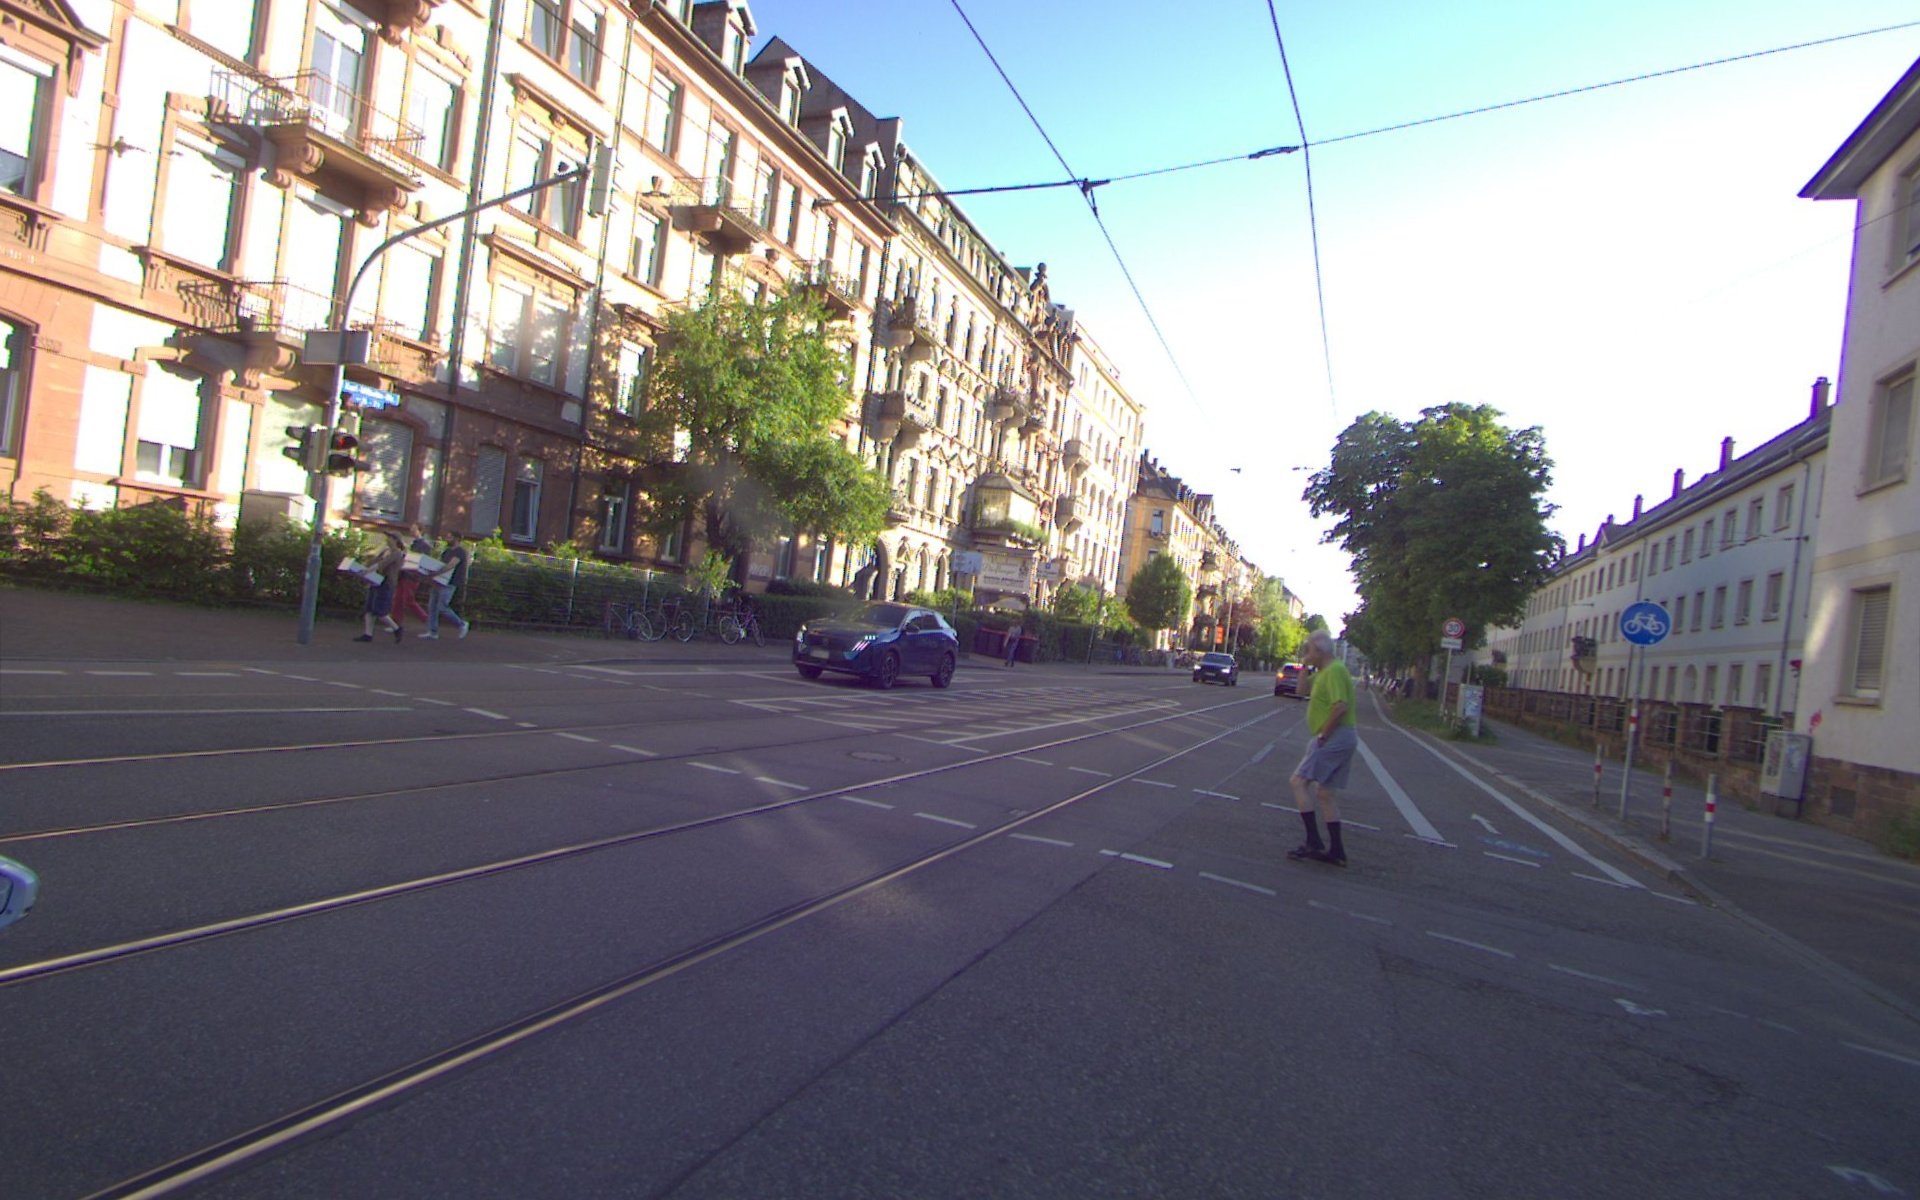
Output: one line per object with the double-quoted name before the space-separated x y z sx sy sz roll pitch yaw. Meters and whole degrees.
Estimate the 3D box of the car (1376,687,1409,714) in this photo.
"car" 29.411 6.832 68.558 1.570 1.556 3.895 7 -2 19

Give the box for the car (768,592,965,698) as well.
"car" -1.700 0.959 20.032 1.913 1.669 4.411 7 -2 23

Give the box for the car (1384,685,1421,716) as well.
"car" 26.954 6.098 61.364 1.570 1.556 3.895 7 -2 19

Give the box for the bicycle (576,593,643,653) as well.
"bicycle" -7.319 0.494 21.066 0.435 1.120 1.232 8 0 28

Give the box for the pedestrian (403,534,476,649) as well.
"pedestrian" -8.356 -0.130 16.144 0.653 1.735 0.635 7 -1 35

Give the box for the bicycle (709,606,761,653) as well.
"bicycle" -5.495 0.731 24.649 0.435 1.050 1.233 8 -1 27

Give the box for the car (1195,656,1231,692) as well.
"car" 12.826 3.746 50.918 1.507 1.542 3.480 7 -2 16

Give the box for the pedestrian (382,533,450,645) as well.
"pedestrian" -8.885 -0.178 16.444 0.513 1.735 0.635 7 -1 35

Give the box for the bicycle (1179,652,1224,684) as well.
"bicycle" 18.847 5.296 78.547 3.185 2.041 0.932 7 -1 17

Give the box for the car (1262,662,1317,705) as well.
"car" 15.215 3.835 46.347 1.940 1.604 4.476 7 -2 22

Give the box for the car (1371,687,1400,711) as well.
"car" 32.963 7.638 78.045 1.570 1.556 3.895 7 -2 19

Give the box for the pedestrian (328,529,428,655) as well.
"pedestrian" -8.588 -0.109 14.858 0.701 1.685 0.895 10 1 39

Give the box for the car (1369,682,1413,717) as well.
"car" 21.327 4.896 49.861 1.524 1.456 3.840 7 -2 19

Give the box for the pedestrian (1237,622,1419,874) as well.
"pedestrian" 2.845 1.117 7.843 0.637 1.747 0.883 10 0 -23

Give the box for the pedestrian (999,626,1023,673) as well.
"pedestrian" 1.887 1.821 37.278 0.517 1.660 0.494 7 0 34

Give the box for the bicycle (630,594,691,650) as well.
"bicycle" -6.623 0.498 22.311 0.435 1.120 1.233 8 -1 28

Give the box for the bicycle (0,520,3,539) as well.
"bicycle" -14.271 -0.707 13.466 1.950 1.119 0.439 10 -2 -34
